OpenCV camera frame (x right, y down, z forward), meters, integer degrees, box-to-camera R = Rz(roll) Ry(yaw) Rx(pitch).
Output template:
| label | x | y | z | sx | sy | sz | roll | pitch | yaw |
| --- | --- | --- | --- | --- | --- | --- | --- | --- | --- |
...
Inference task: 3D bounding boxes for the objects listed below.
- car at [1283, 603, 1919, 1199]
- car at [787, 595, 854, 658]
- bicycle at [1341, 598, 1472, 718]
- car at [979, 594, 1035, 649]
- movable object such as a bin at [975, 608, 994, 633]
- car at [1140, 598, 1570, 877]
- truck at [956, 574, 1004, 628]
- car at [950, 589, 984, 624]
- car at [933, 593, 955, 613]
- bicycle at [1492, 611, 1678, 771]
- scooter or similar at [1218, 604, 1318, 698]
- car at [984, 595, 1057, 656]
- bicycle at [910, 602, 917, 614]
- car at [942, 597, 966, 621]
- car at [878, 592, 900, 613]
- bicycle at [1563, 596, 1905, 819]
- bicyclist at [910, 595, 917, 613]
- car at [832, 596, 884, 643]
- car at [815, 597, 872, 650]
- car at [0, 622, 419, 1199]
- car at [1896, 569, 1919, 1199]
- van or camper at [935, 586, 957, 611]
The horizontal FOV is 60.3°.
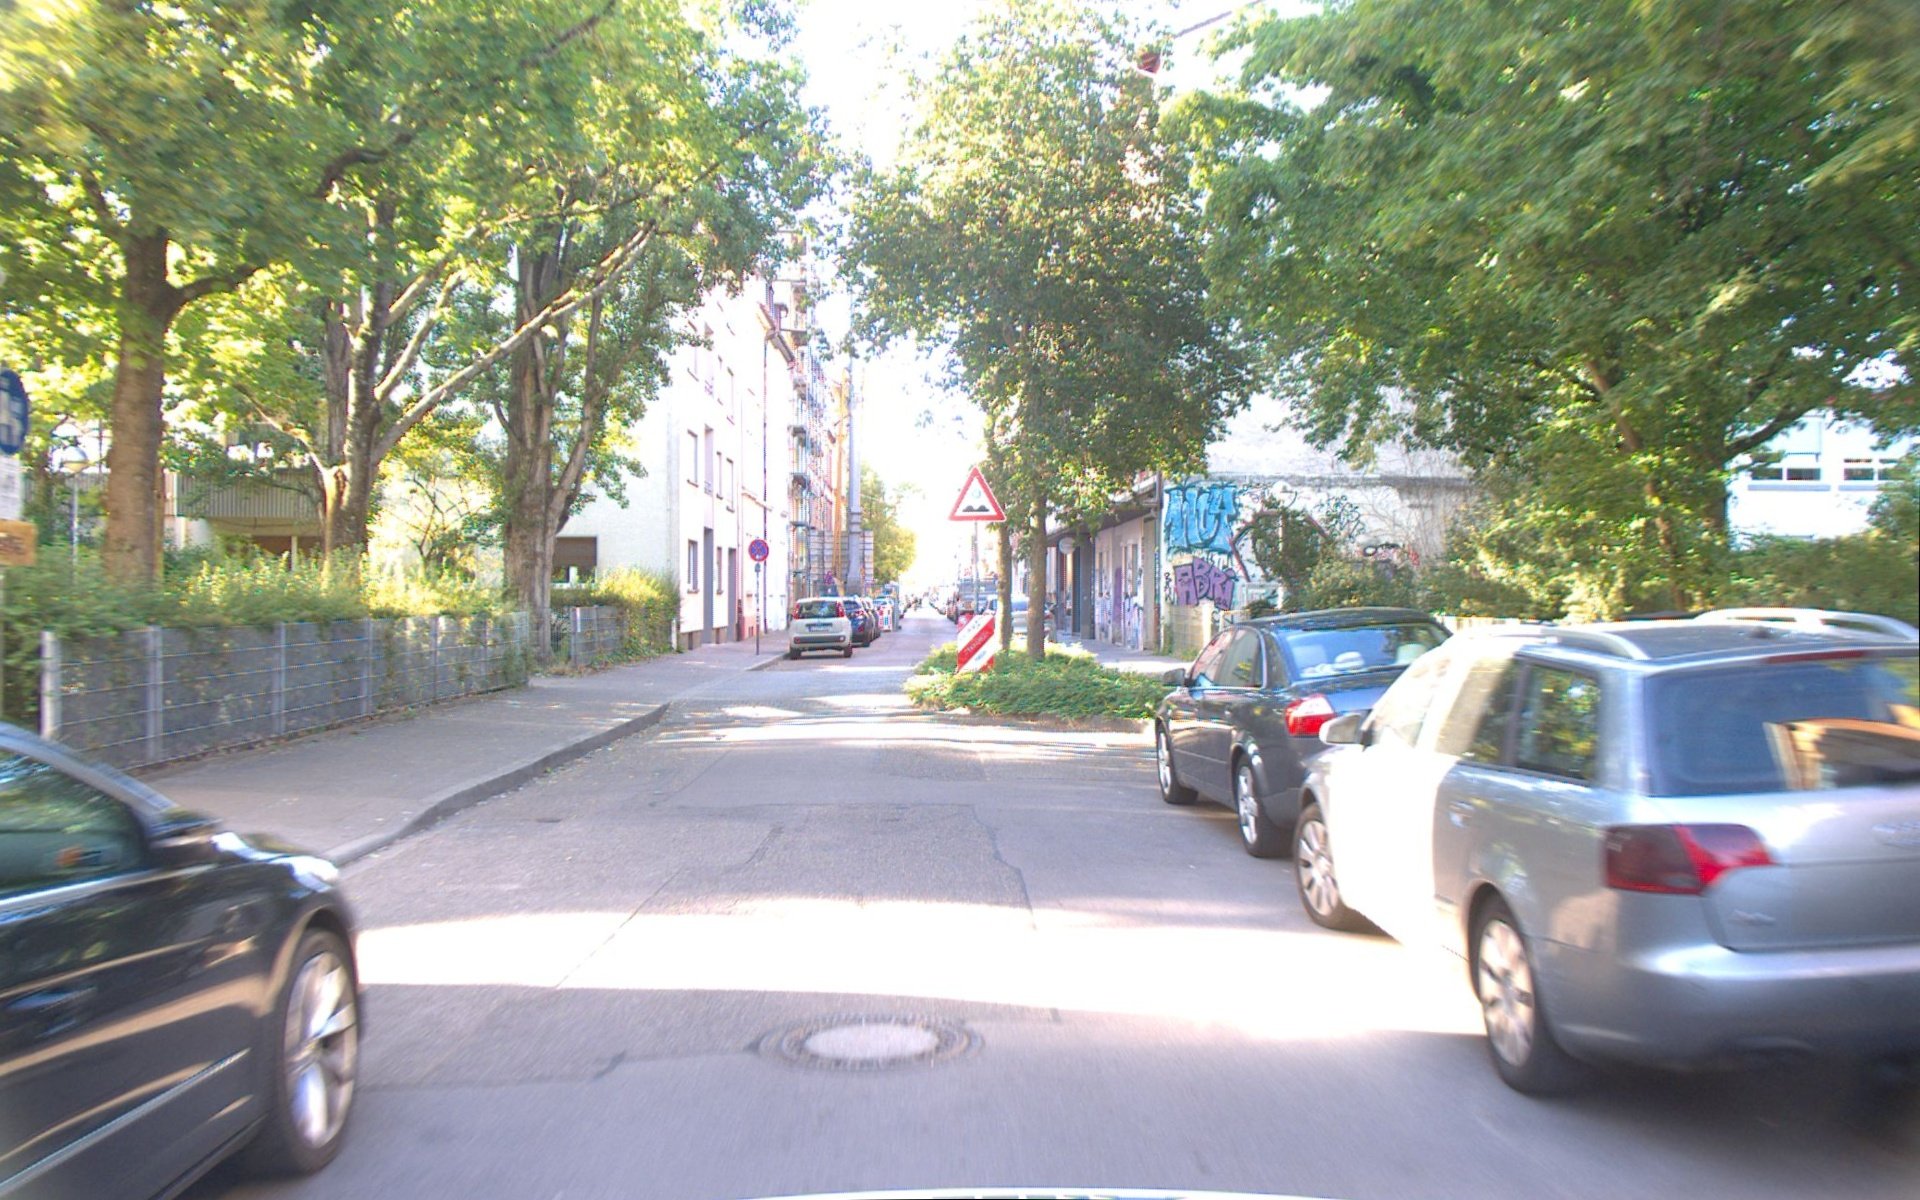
| label | x | y | z | sx | sy | sz | roll | pitch | yaw |
| --- | --- | --- | --- | --- | --- | --- | --- | --- | --- |
| car | 2.524 | 0.783 | 6.374 | 1.625 | 1.520 | 4.352 | 0 | 0 | -1 |
| car | -3.656 | 0.672 | 43.890 | 1.642 | 1.566 | 3.866 | -1 | 0 | -4 |
| bicycle | 5.222 | 0.639 | 19.557 | 0.829 | 1.290 | 2.692 | -1 | 1 | 0 |
| car | 1.443 | 0.659 | 51.967 | 1.606 | 1.685 | 3.869 | 0 | 0 | -1 |
| movable object such as a bin | 1.078 | 0.906 | 72.600 | 0.779 | 1.074 | 0.660 | 0 | 0 | -2 |
| car | 2.470 | 0.770 | 11.514 | 1.687 | 1.520 | 4.411 | -1 | 0 | -3 |
| truck | 0.975 | 0.040 | 84.862 | 2.146 | 2.652 | 5.231 | -1 | 0 | -2 |
| car | 0.390 | 0.369 | 95.348 | 1.642 | 1.997 | 4.106 | -1 | 0 | -4 |
| car | -1.606 | 0.306 | 160.177 | 1.954 | 1.881 | 3.998 | -1 | 0 | -3 |
| bicycle | 5.258 | 0.729 | 14.061 | 0.829 | 1.221 | 1.982 | -1 | 0 | 0 |
| scooter or similar | 4.385 | 0.720 | 23.607 | 0.539 | 1.284 | 1.457 | -1 | 0 | -32 |
| car | 1.622 | 0.669 | 45.666 | 1.686 | 1.589 | 4.396 | 0 | 0 | -2 |
| bicycle | -4.768 | 0.792 | 170.629 | 0.710 | 1.207 | 2.042 | 1 | 1 | -1 |
| car | -0.580 | 0.805 | 145.740 | 1.954 | 2.049 | 3.998 | -1 | 0 | -3 |
| car | -6.433 | 0.217 | 149.419 | 1.954 | 1.881 | 3.998 | -1 | 0 | -3 |
| bicycle | 5.222 | 0.663 | 11.416 | 1.264 | 1.324 | 2.327 | -2 | 0 | 1 |
| bicyclist | -4.760 | 0.416 | 170.633 | 0.715 | 1.792 | 0.835 | 0 | 0 | -1 |
| car | -3.529 | 0.639 | 57.835 | 1.641 | 1.538 | 4.413 | -2 | 0 | -2 |
| car | -3.702 | 0.713 | 52.717 | 1.695 | 1.566 | 4.374 | -2 | 0 | -4 |
| car | -2.494 | 0.843 | 2.814 | 1.743 | 1.468 | 4.391 | -3 | 0 | -2 |
| car | 2.809 | 0.738 | 1.637 | 1.561 | 1.613 | 3.762 | 0 | 0 | -2 |
| van or camper | -1.516 | -0.160 | 174.342 | 1.955 | 2.552 | 4.197 | -1 | 0 | -5 |
